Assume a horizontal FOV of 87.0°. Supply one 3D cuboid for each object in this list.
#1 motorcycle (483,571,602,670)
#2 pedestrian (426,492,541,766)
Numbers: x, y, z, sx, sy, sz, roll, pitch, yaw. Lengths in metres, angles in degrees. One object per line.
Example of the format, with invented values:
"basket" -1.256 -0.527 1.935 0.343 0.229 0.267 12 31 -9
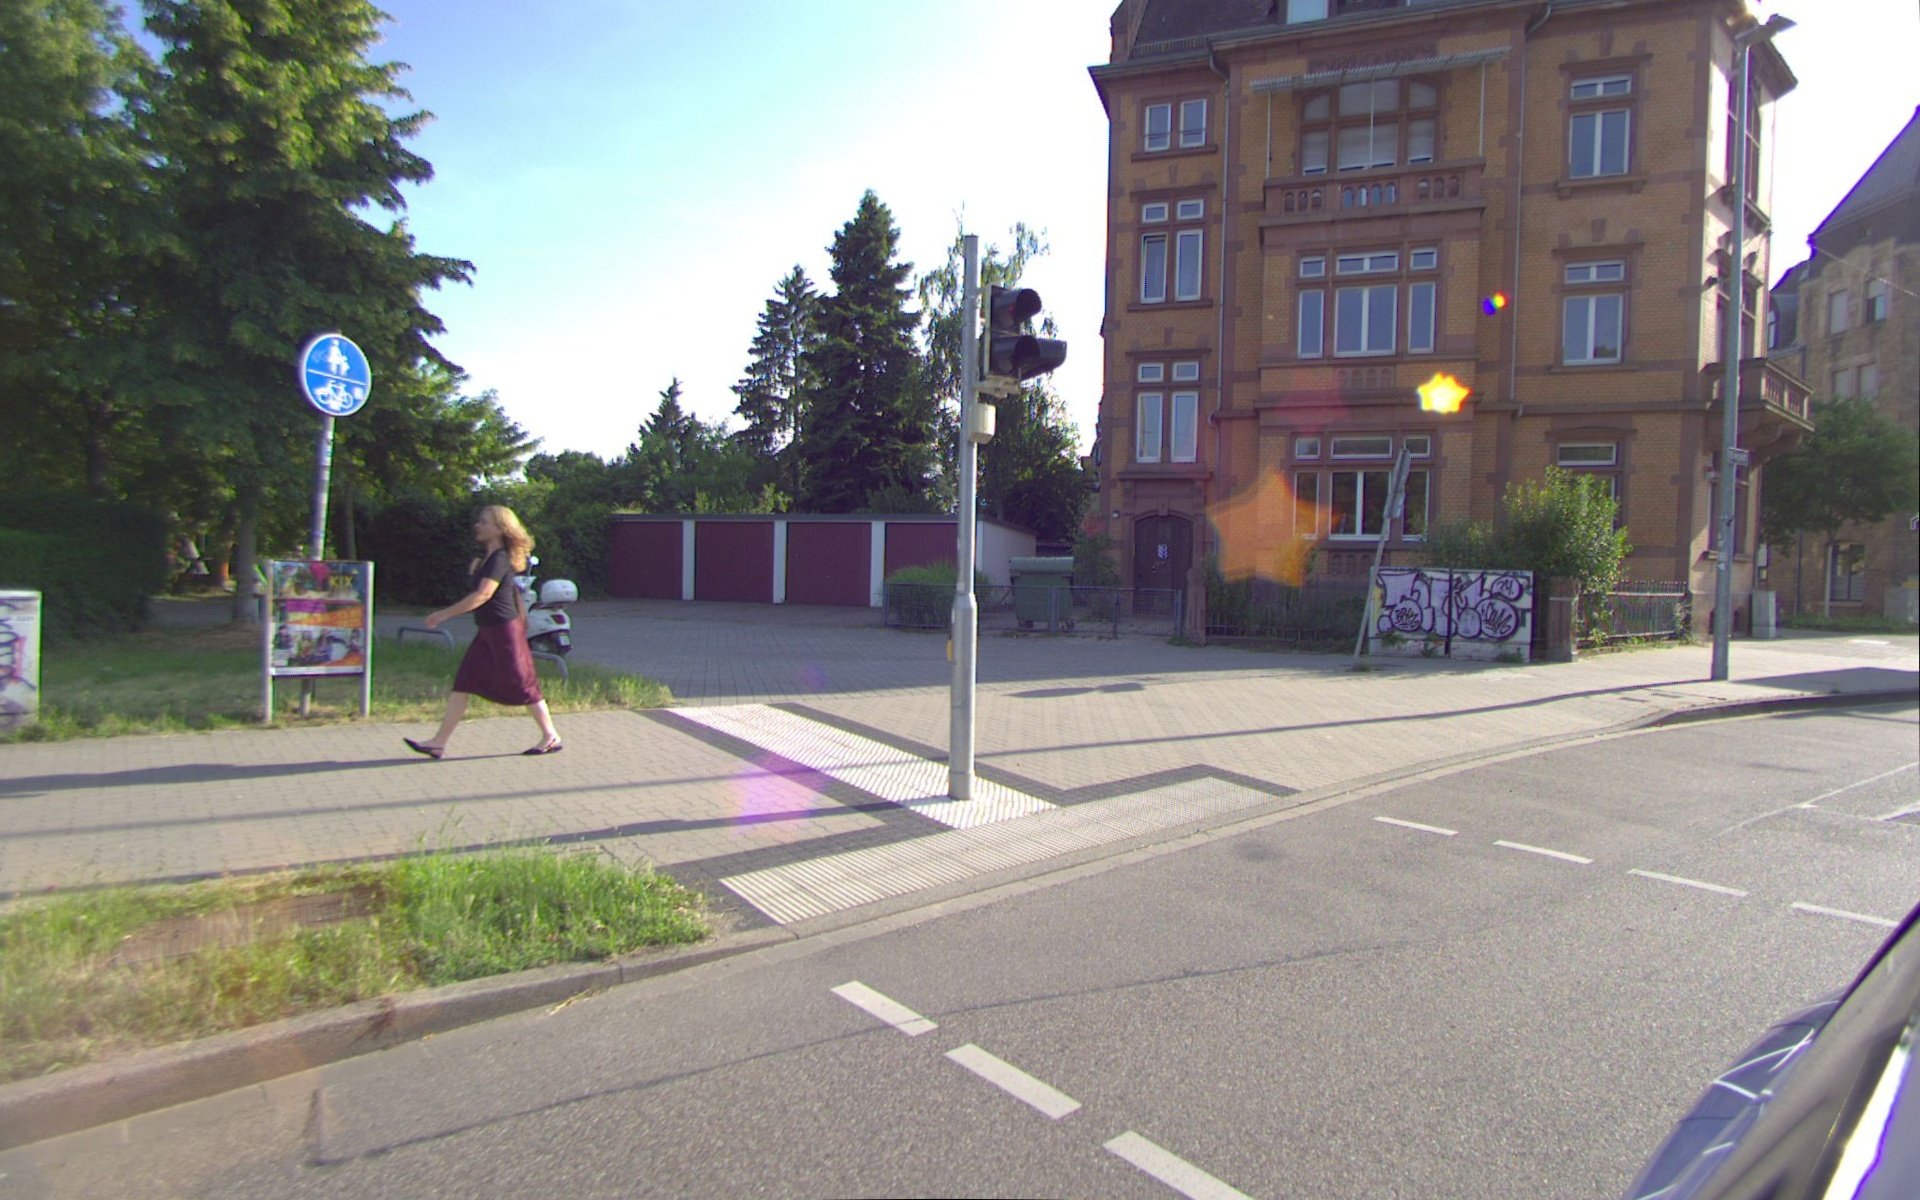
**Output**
"motorcycle" -5.410 0.224 13.046 1.997 1.174 0.696 2 1 45
"pedestrian" -3.183 0.166 6.739 0.538 1.711 0.617 1 6 -36
